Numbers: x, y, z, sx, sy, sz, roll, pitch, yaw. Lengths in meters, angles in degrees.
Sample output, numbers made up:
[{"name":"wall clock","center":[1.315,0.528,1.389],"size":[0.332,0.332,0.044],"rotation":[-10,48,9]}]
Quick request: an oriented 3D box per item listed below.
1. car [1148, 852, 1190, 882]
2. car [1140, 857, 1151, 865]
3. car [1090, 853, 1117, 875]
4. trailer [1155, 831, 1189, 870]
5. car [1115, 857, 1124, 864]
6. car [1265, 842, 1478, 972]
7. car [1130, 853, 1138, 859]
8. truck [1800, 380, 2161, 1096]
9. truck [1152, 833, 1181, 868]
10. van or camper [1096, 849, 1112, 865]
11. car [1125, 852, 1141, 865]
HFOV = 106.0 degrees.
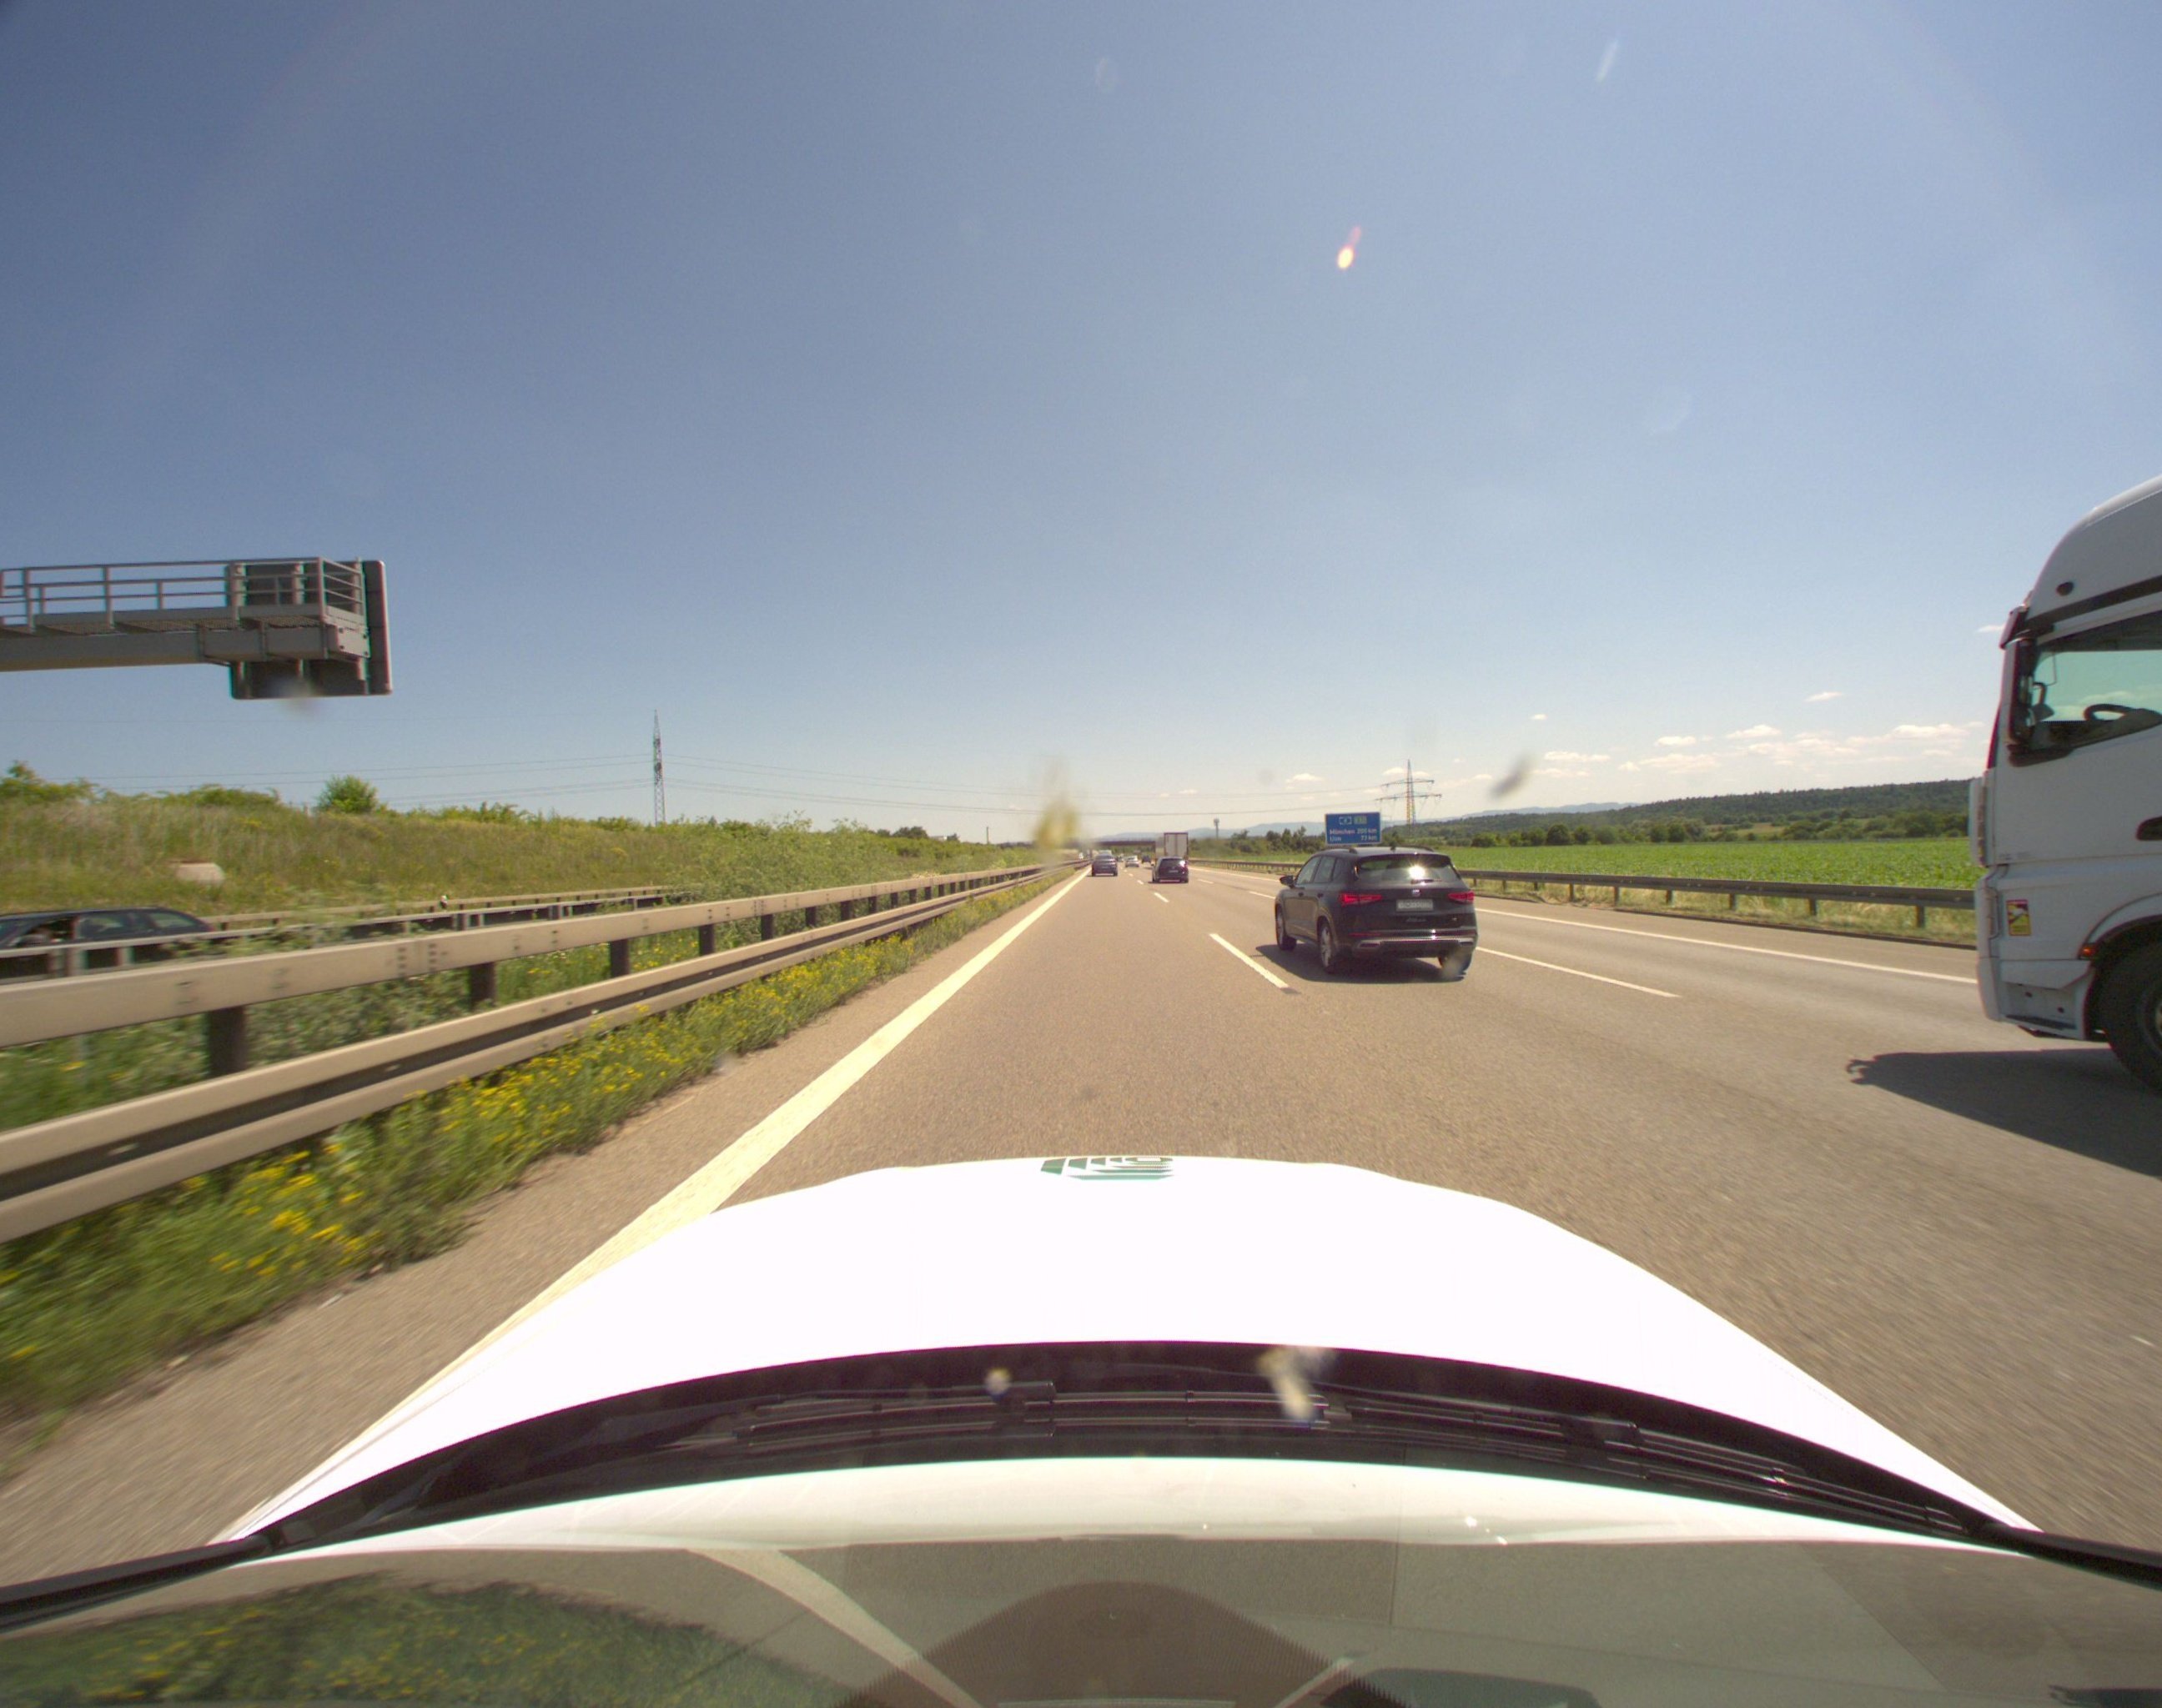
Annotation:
[{"name":"car","center":[4.872,0.702,45.611],"size":[1.926,1.574,4.936],"rotation":[0,0,1]},{"name":"car","center":[12.696,1.356,160.888],"size":[1.986,1.683,4.002],"rotation":[0,0,2]},{"name":"car","center":[1.703,0.756,62.246],"size":[1.846,1.664,3.733],"rotation":[0,0,-1]},{"name":"trailer","center":[10.399,-0.377,94.421],"size":[2.932,4.198,13.602],"rotation":[0,0,2]},{"name":"car","center":[9.232,1.657,195.261],"size":[1.986,1.683,4.002],"rotation":[0,0,2]},{"name":"car","center":[3.945,0.648,11.755],"size":[1.790,1.562,3.824],"rotation":[0,0,1]},{"name":"car","center":[13.951,0.562,216.080],"size":[1.986,1.683,4.002],"rotation":[0,0,2]},{"name":"truck","center":[7.592,-0.674,3.569],"size":[2.853,4.091,6.880],"rotation":[0,0,1]},{"name":"truck","center":[10.615,-0.377,101.851],"size":[2.968,4.228,7.690],"rotation":[0,0,2]},{"name":"van or camper","center":[3.315,0.415,116.408],"size":[2.102,2.211,5.268],"rotation":[0,0,2]},{"name":"car","center":[6.820,0.658,107.899],"size":[1.986,1.683,4.002],"rotation":[0,0,2]}]
